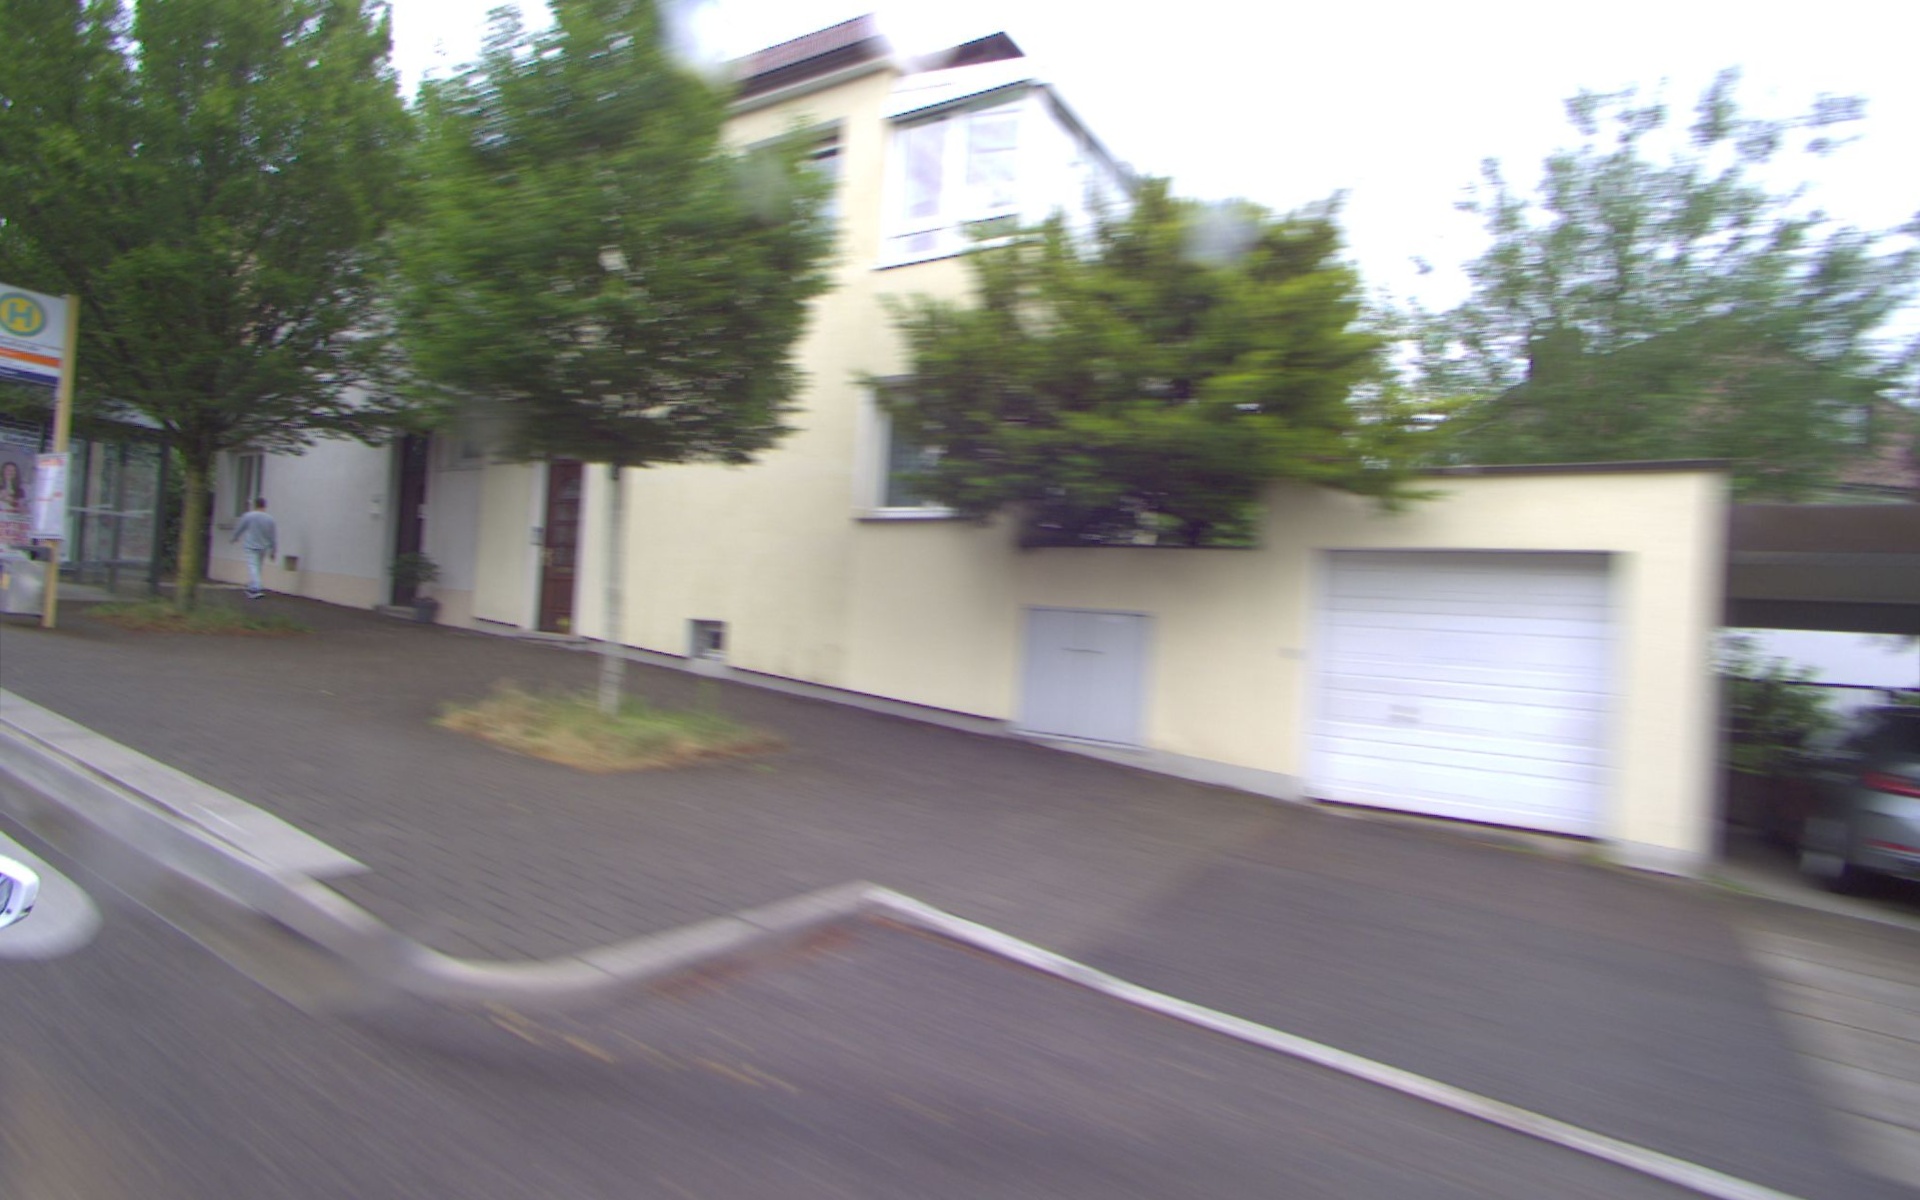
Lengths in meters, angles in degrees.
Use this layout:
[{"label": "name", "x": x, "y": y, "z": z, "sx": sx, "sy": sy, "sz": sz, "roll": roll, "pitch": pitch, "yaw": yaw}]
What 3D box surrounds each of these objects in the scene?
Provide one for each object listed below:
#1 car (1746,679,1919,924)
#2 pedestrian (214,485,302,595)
[{"label": "car", "x": 7.706, "y": 1.564, "z": 7.927, "sx": 1.800, "sy": 1.497, "sz": 4.304, "roll": 8, "pitch": -1, "yaw": 33}, {"label": "pedestrian", "x": -11.807, "y": -1.001, "z": 16.923, "sx": 1.028, "sy": 1.709, "sz": 0.832, "roll": 8, "pitch": 4, "yaw": 34}]
